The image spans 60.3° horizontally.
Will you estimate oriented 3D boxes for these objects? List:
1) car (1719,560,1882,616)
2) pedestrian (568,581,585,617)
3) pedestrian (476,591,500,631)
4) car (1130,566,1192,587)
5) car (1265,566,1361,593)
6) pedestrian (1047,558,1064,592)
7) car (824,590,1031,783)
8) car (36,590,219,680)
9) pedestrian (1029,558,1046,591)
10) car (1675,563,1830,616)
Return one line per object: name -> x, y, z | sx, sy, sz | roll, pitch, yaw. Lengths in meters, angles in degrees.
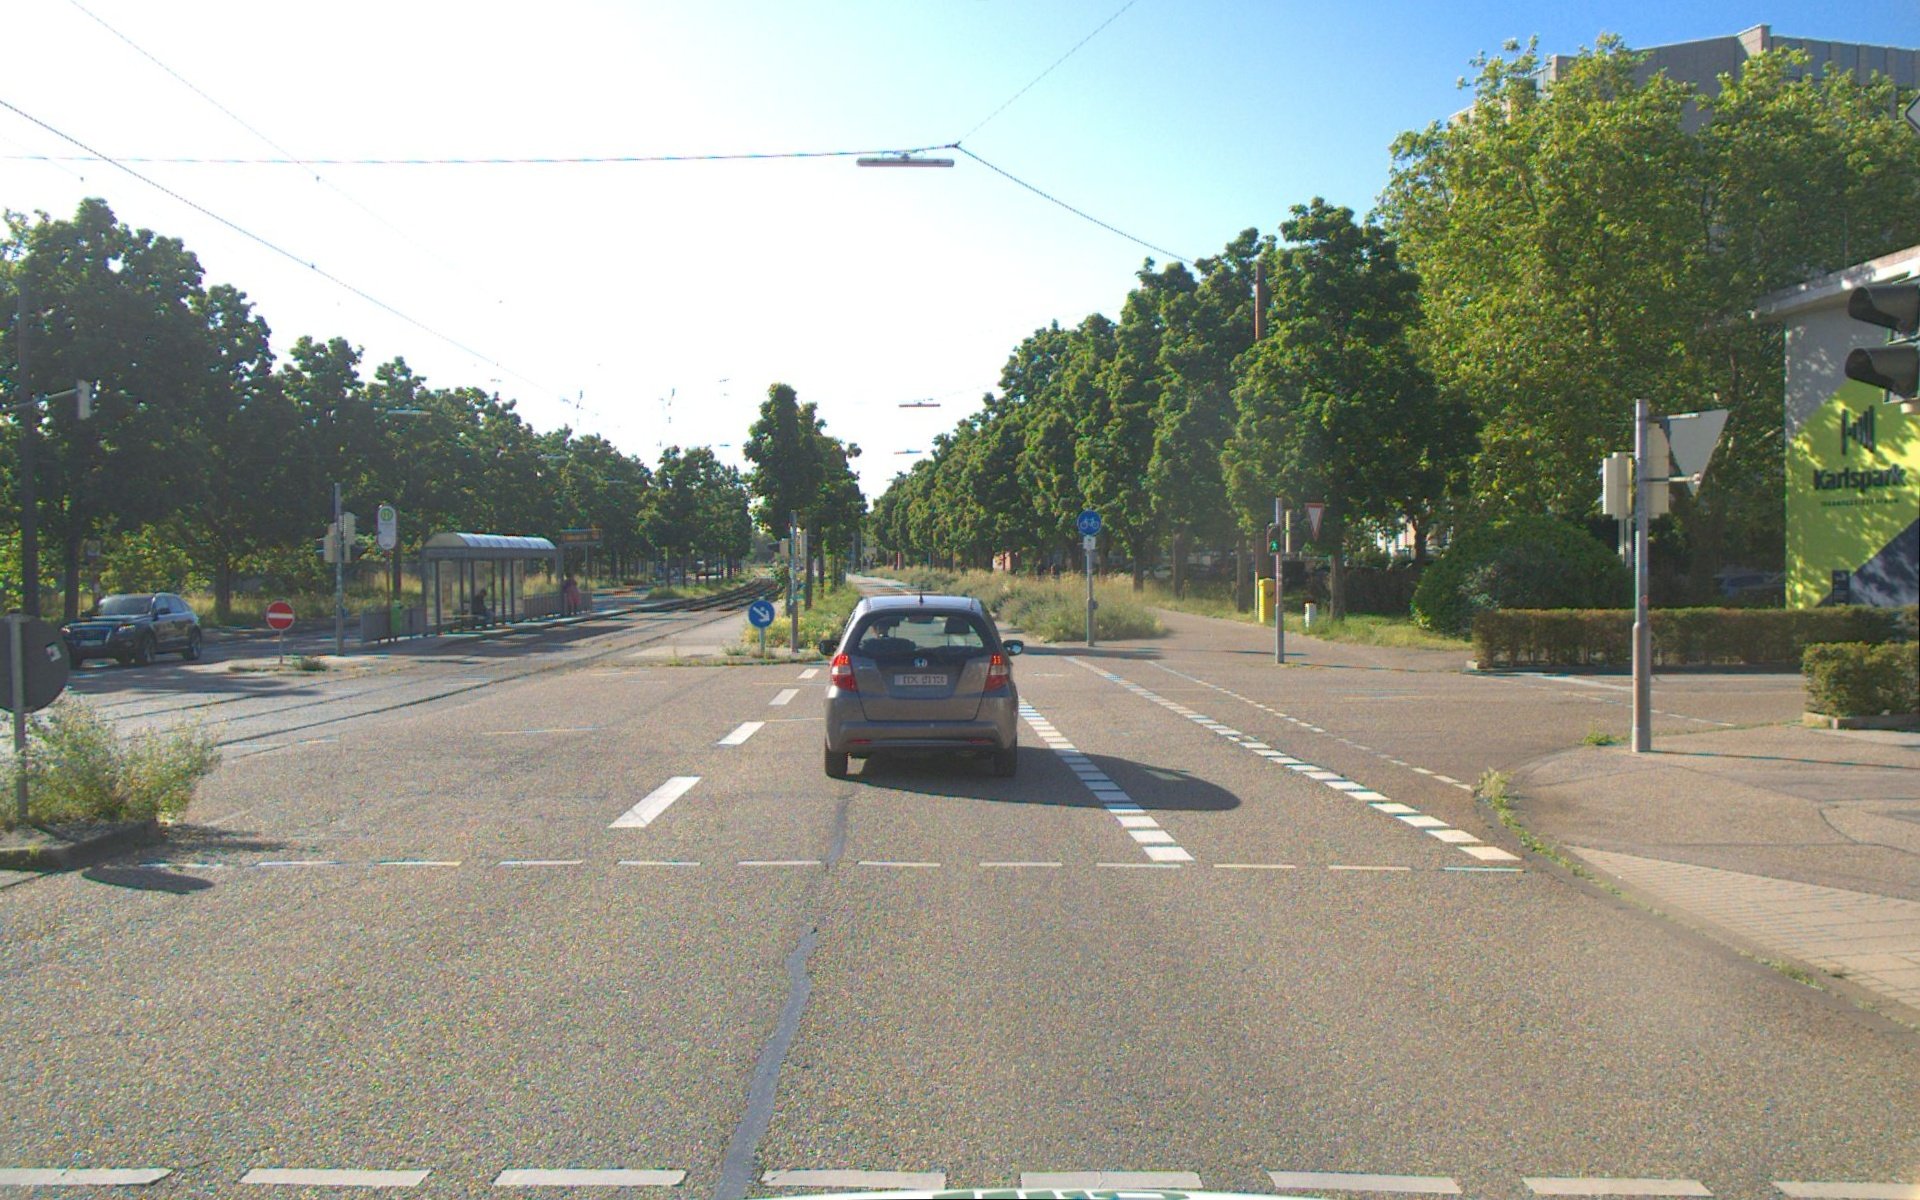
car -> 26.891, -0.389, 52.989 | 4.371, 1.715, 1.892 | -1, 0, -7
pedestrian -> -15.681, -0.043, 67.636 | 0.533, 1.473, 0.559 | -2, 0, -1
pedestrian -> -15.135, 0.351, 53.083 | 0.552, 1.278, 0.580 | -3, 0, -2
car -> 16.102, -1.903, 132.710 | 4.543, 1.583, 1.997 | -1, 1, -7
car -> 18.964, -1.114, 88.947 | 4.588, 1.350, 2.086 | 0, 1, 34
pedestrian -> 5.581, -1.464, 96.909 | 0.865, 1.917, 0.874 | -1, 1, -5
car -> -0.292, 0.703, 15.163 | 1.666, 1.550, 3.708 | 0, 0, -1
car -> -19.725, 0.778, 39.471 | 2.052, 1.841, 4.790 | -3, 1, -3
pedestrian -> 4.563, -1.469, 96.866 | 0.865, 1.917, 0.874 | -1, 1, -5
car -> 26.584, -0.363, 55.547 | 4.371, 1.715, 1.892 | -1, 0, -7
